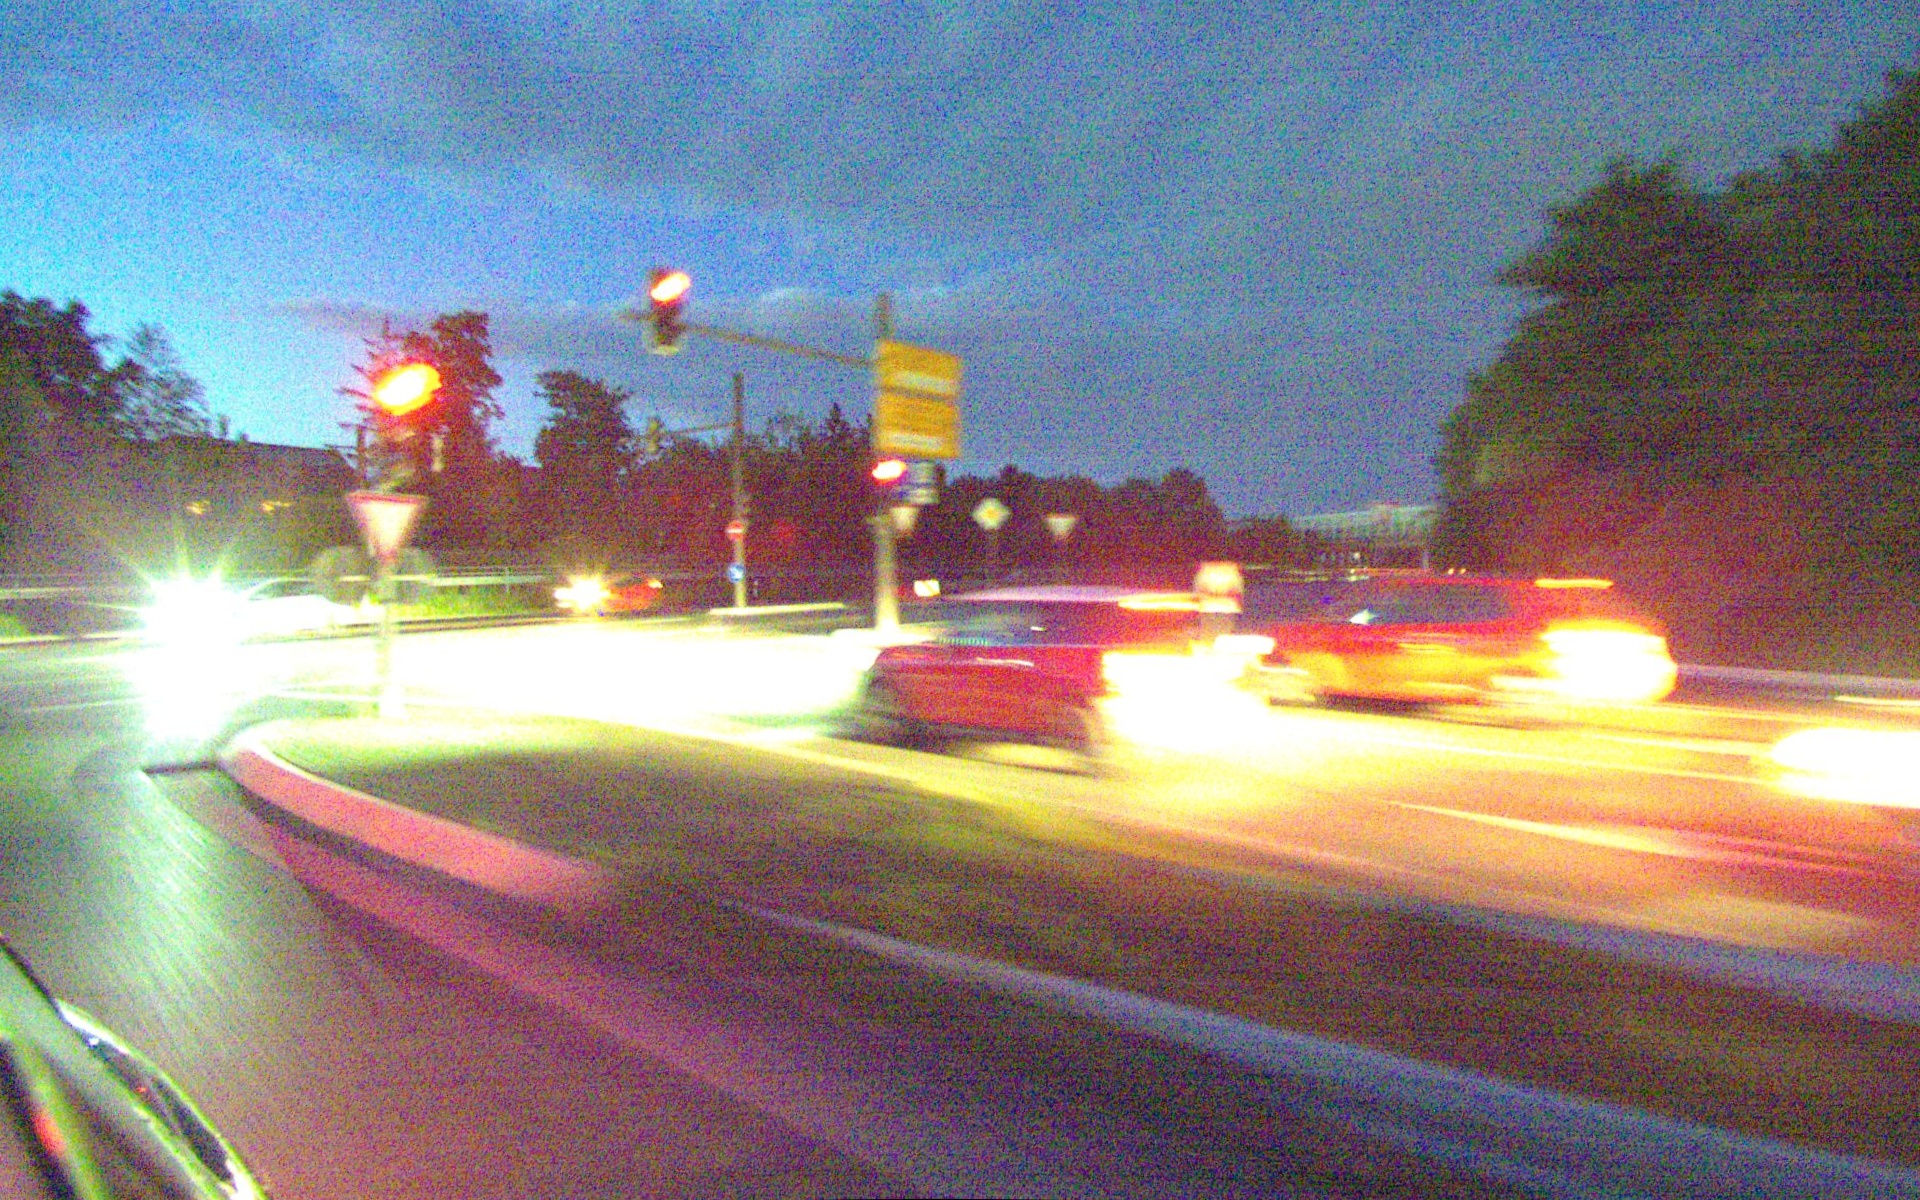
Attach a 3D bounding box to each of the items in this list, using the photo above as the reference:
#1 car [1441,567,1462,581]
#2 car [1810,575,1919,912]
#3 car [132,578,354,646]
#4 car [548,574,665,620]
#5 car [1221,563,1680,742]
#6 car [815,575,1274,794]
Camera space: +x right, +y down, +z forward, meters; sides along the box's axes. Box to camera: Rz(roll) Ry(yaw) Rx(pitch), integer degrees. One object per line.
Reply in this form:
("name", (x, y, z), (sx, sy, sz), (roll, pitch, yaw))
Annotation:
("car", (55.689, -2.926, 114.679), (1.547, 1.531, 3.474), (2, 3, 35))
("car", (5.940, 0.581, 3.878), (3.986, 1.455, 1.691), (-2, 0, 44))
("car", (-17.126, 0.234, 24.432), (1.749, 1.470, 4.169), (-2, 1, 17))
("car", (-12.115, -0.125, 34.808), (1.654, 1.461, 3.448), (-2, 1, 35))
("car", (4.979, 0.411, 10.611), (4.001, 1.471, 1.735), (0, 3, 44))
("car", (0.608, 0.547, 9.033), (3.870, 1.485, 1.681), (2, 4, 42))
